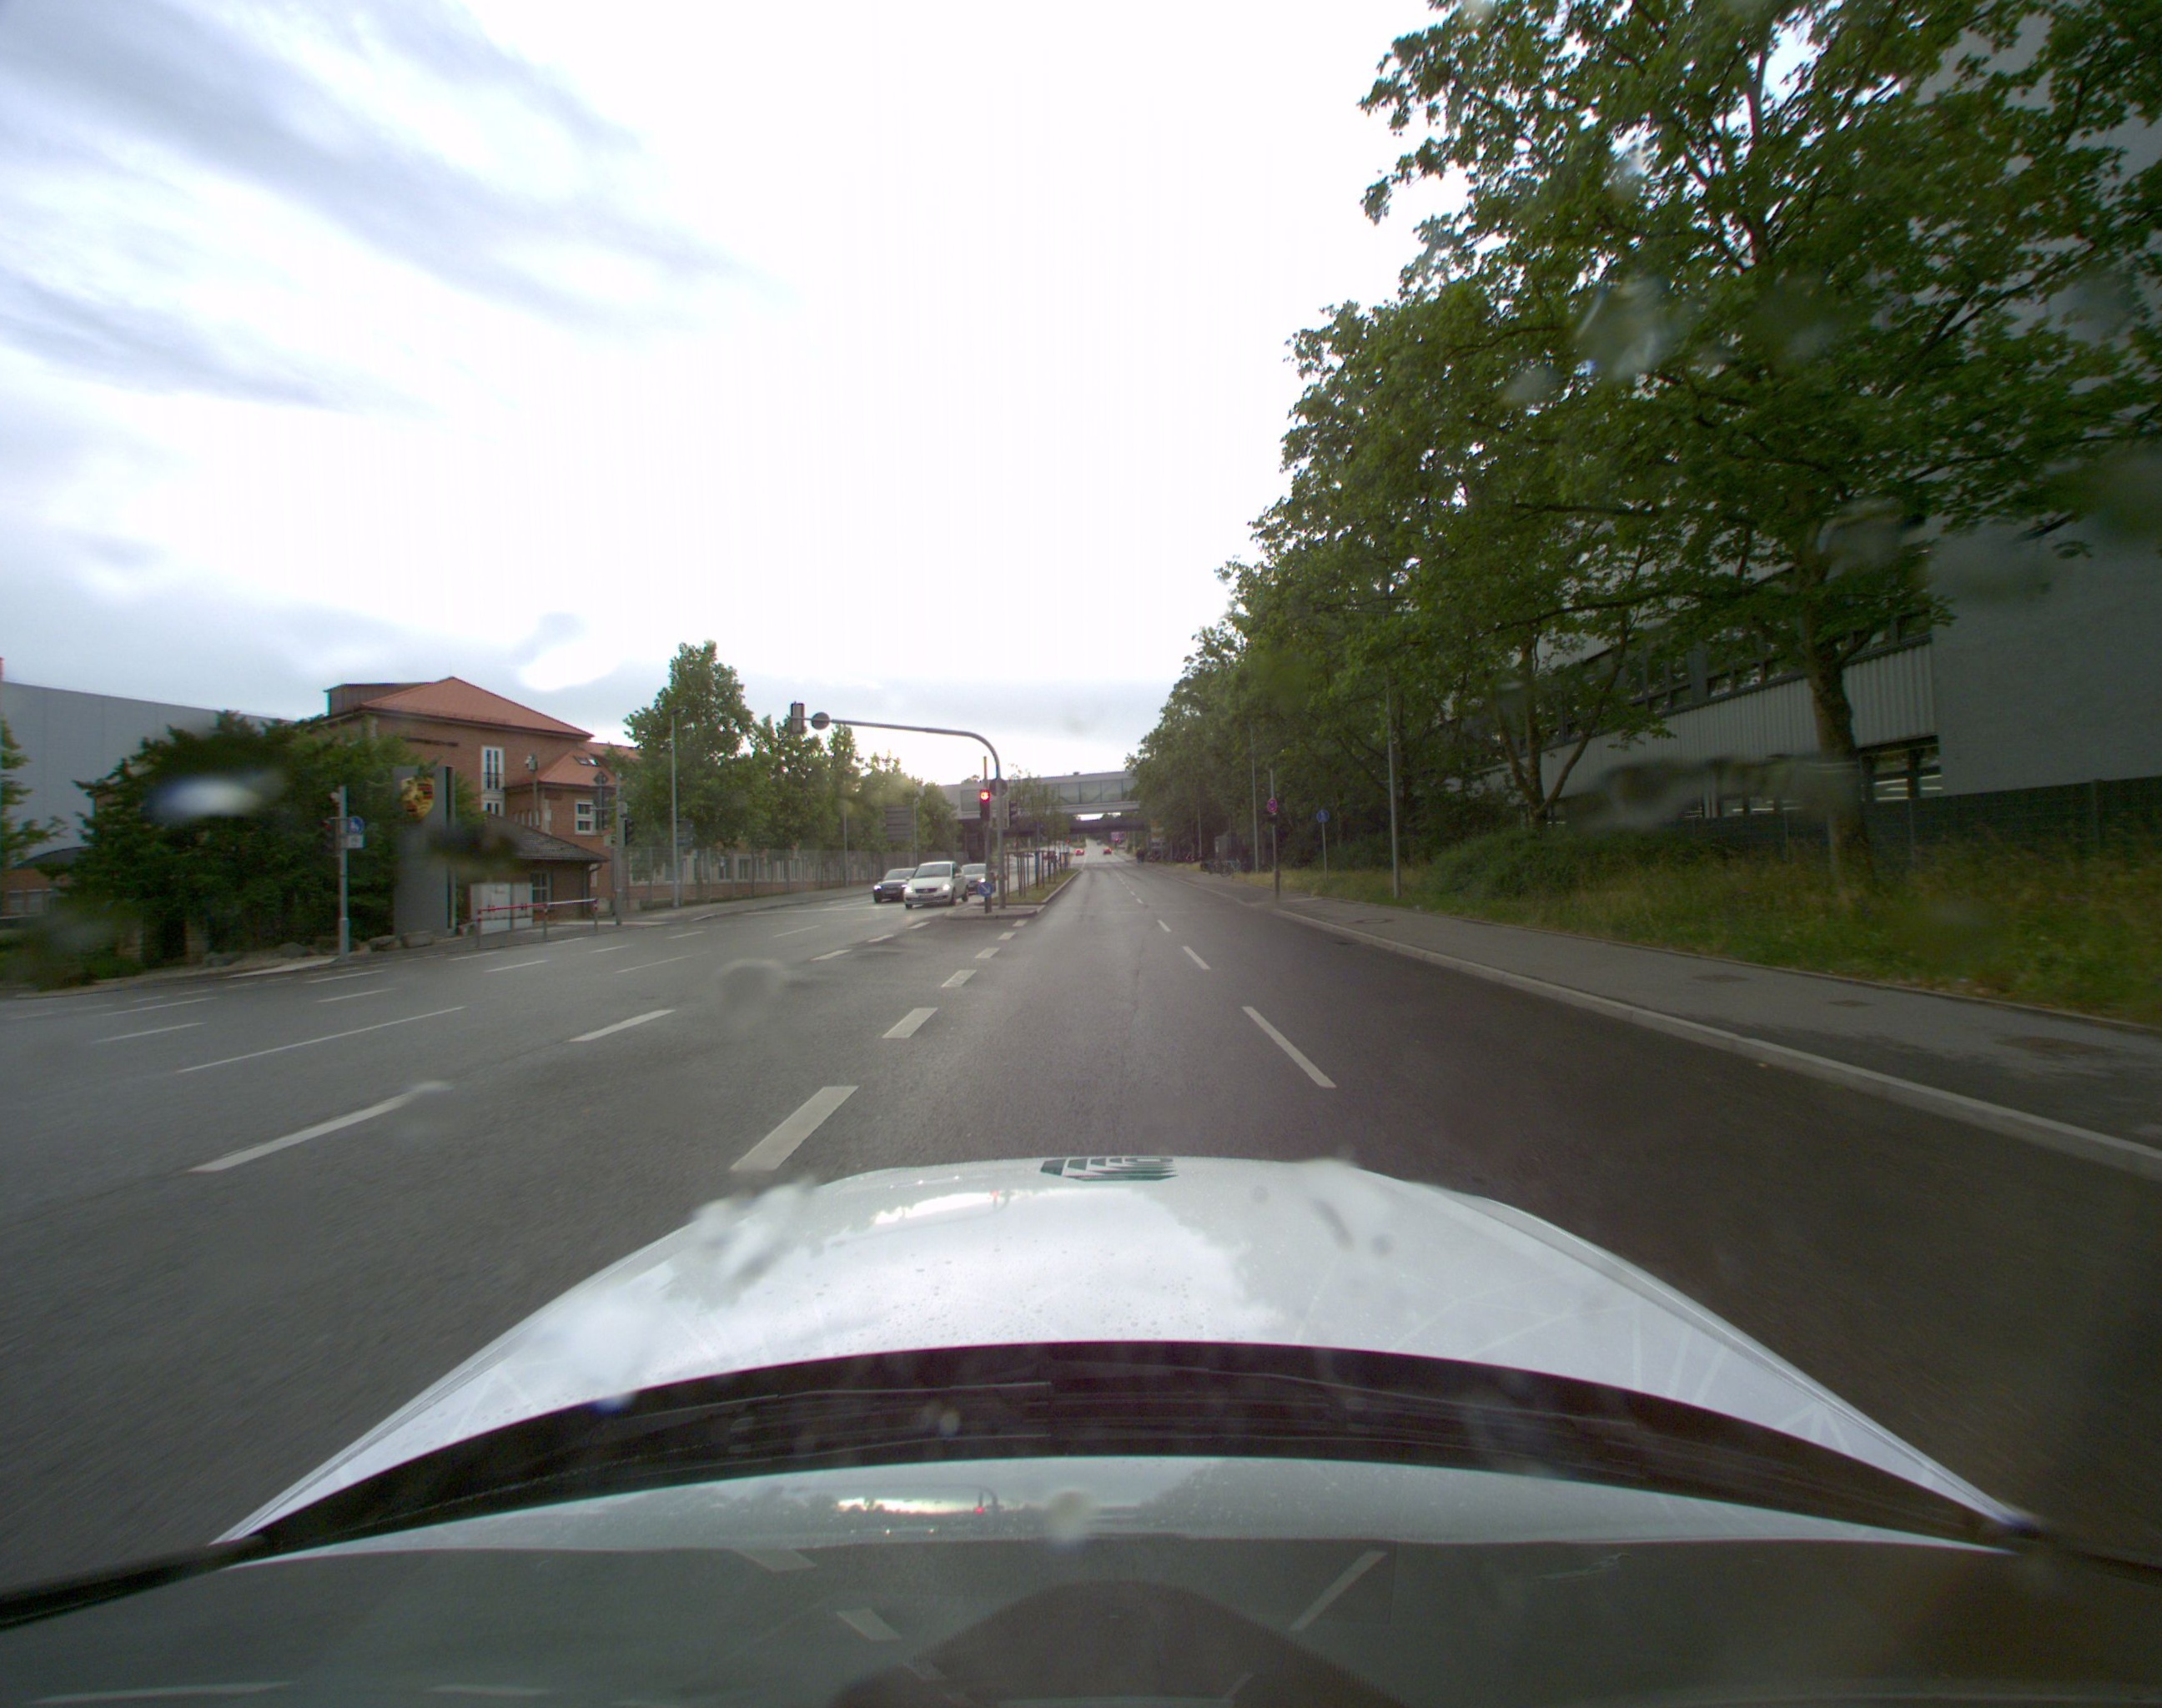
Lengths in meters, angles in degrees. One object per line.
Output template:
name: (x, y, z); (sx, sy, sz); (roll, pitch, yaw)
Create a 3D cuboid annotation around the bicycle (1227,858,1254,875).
bicycle: (9.786, 0.769, 50.058); (1.546, 0.958, 0.393); (-3, 0, 0)

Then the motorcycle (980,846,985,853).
motorcycle: (-16.342, -0.768, 134.759); (0.466, 1.158, 1.934); (-3, 1, 4)

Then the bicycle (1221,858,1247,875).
bicycle: (9.735, 0.768, 51.940); (1.546, 1.005, 0.393); (-3, 0, 0)

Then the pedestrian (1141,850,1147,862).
pedestrian: (8.476, 0.310, 109.791); (0.646, 1.596, 0.580); (-3, 0, 12)

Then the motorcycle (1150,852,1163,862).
motorcycle: (10.481, 0.465, 112.942); (0.550, 1.297, 1.922); (-3, 0, -37)

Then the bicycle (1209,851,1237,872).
bicycle: (9.782, 0.483, 56.151); (1.859, 1.348, 0.446); (-3, 0, -12)

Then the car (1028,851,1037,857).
car: (-12.152, -0.028, 204.996); (2.057, 1.361, 4.755); (-3, 0, -1)

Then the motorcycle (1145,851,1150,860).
motorcycle: (9.386, 0.242, 114.276); (0.466, 1.213, 1.950); (-3, 0, 10)

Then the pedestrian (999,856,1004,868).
pedestrian: (-13.068, 1.322, 133.994); (0.516, 1.816, 0.802); (-2, 0, 11)

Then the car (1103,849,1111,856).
car: (6.256, -0.425, 195.464); (1.739, 1.470, 4.166); (-2, 1, 0)

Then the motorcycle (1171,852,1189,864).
motorcycle: (10.875, 0.473, 89.366); (1.851, 1.191, 0.519); (-3, 0, -15)

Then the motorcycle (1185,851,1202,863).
motorcycle: (10.933, 0.251, 79.342); (1.643, 1.150, 0.494); (-1, -1, 8)

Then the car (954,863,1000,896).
car: (-4.971, 1.191, 39.412); (1.572, 1.404, 4.112); (-3, 0, 1)

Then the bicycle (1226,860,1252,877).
bicycle: (9.785, 0.921, 50.453); (1.546, 0.958, 0.393); (-3, 0, 0)

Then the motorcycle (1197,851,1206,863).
motorcycle: (13.940, 0.337, 94.238); (0.643, 1.279, 1.991); (-2, 0, 0)

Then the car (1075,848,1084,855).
car: (-0.477, -0.637, 195.641); (2.070, 1.718, 4.196); (0, -1, -1)

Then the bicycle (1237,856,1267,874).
bicycle: (9.736, 0.642, 46.333); (1.602, 0.939, 0.387); (-3, -1, 0)

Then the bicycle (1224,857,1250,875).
bicycle: (9.802, 0.744, 51.120); (1.546, 1.005, 0.393); (-3, 0, 0)

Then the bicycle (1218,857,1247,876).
bicycle: (8.951, 0.743, 48.137); (1.546, 1.005, 0.393); (-3, 0, 0)

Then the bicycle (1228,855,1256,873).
bicycle: (9.705, 0.574, 49.138); (1.546, 1.005, 0.393); (-3, 0, 0)

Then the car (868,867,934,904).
car: (-8.041, 1.361, 36.812); (1.767, 1.404, 4.616); (-3, 0, 1)

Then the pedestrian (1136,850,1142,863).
pedestrian: (7.810, 0.271, 109.903); (0.607, 1.721, 0.894); (-3, 0, 11)

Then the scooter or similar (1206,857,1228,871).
scooter or similar: (9.702, 0.690, 58.154); (1.476, 0.937, 0.364); (-3, 0, -17)

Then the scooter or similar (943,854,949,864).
scooter or similar: (-16.648, 0.591, 100.448); (0.310, 1.218, 1.310); (-3, 0, 6)

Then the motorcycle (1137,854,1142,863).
motorcycle: (7.849, 0.603, 109.916); (0.468, 1.136, 1.819); (-3, 0, 0)

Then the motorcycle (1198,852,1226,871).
motorcycle: (9.625, 0.530, 59.804); (1.995, 1.273, 0.443); (-3, 0, 13)

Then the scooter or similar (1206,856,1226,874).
scooter or similar: (8.801, 0.718, 53.062); (1.210, 1.091, 0.312); (-3, 0, -4)

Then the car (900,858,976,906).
car: (-5.247, 0.993, 30.422); (1.764, 1.589, 4.488); (-3, -1, 2)
